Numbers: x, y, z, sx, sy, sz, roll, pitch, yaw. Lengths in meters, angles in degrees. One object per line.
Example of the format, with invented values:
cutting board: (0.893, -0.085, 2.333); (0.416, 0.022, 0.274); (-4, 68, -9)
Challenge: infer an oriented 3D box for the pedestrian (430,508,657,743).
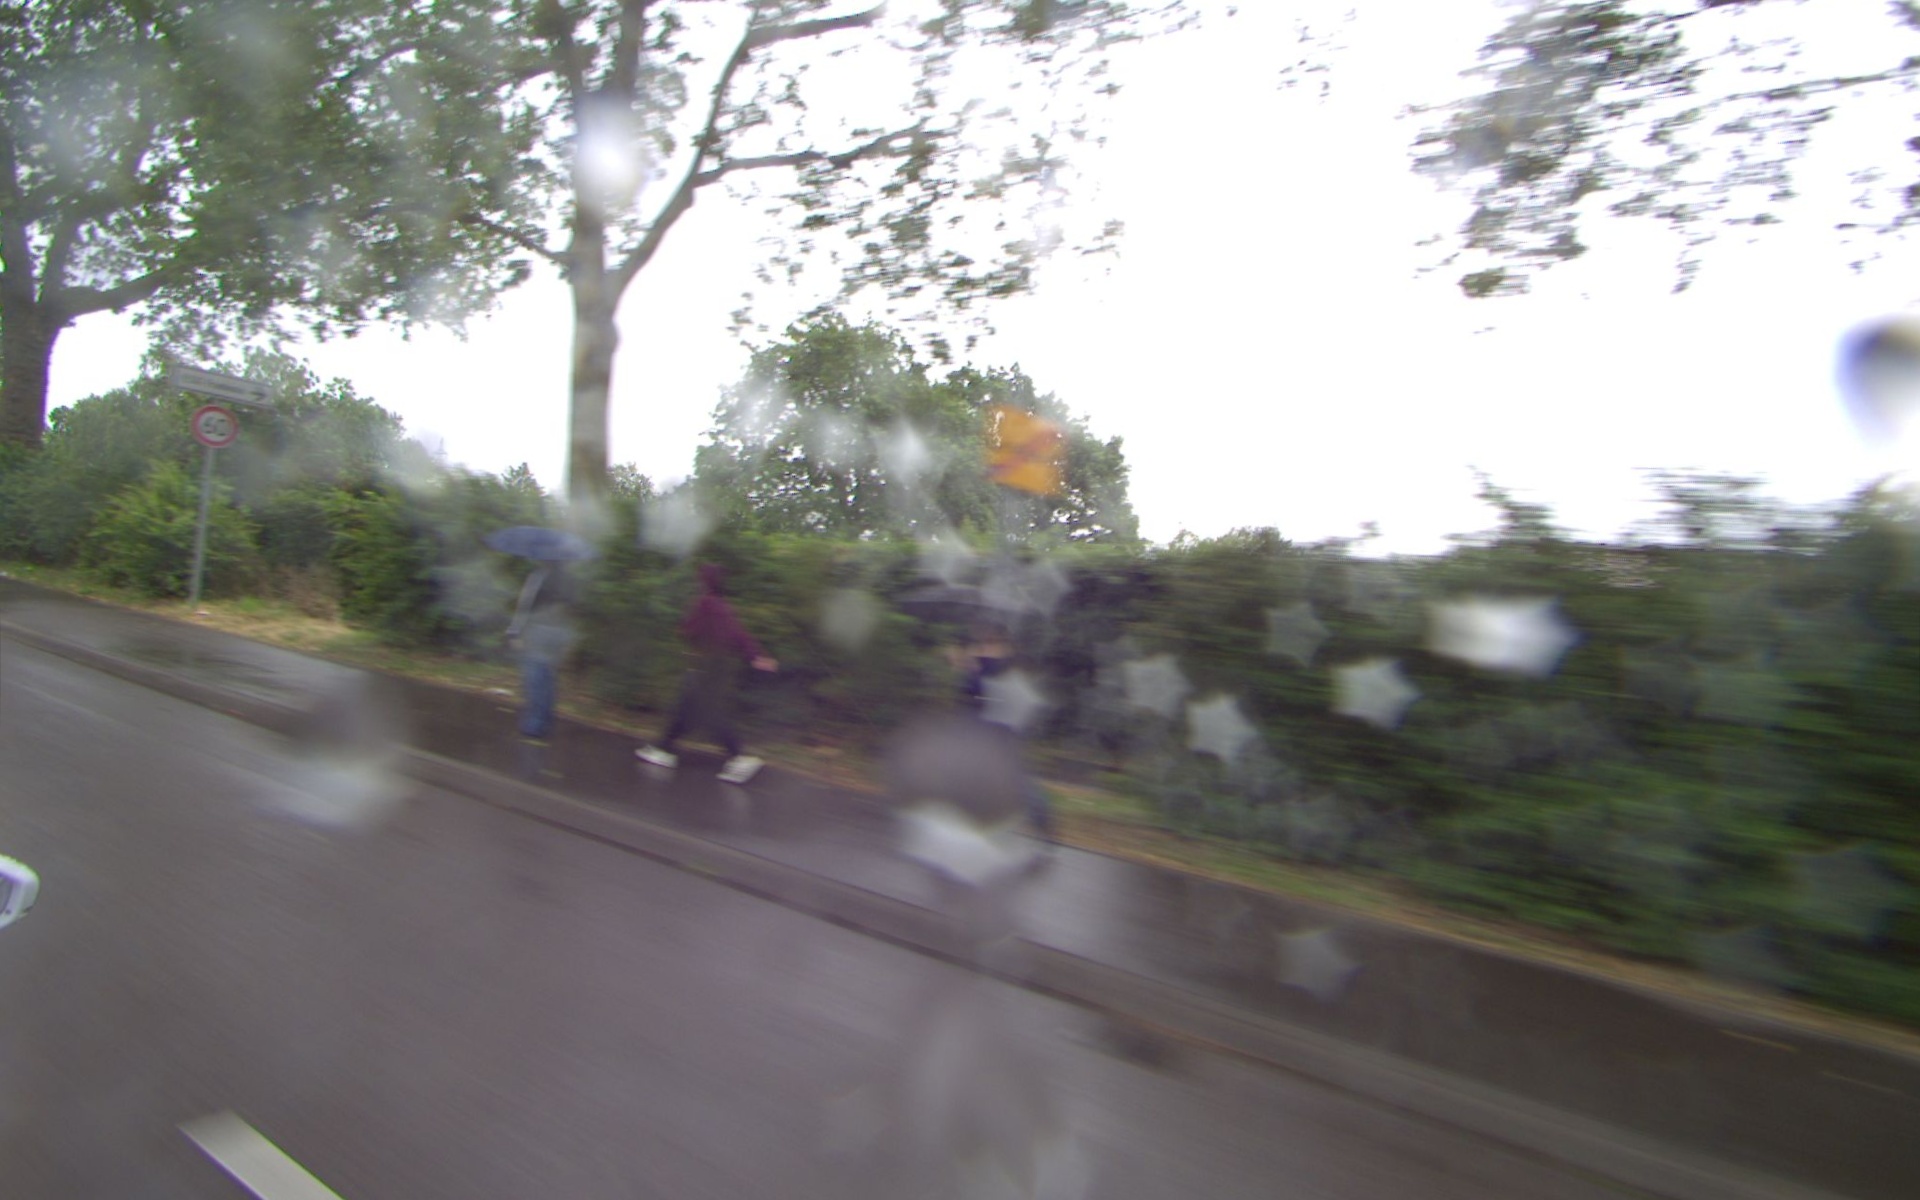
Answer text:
pedestrian: (-3.580, 0.214, 8.711); (1.128, 1.808, 1.241); (6, 0, 31)

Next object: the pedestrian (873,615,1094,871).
pedestrian: (0.163, 0.863, 6.524); (0.999, 1.408, 0.893); (6, 1, 31)

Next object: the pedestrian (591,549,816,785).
pedestrian: (-2.000, 0.492, 7.879); (1.272, 1.609, 0.948); (6, 1, 31)
